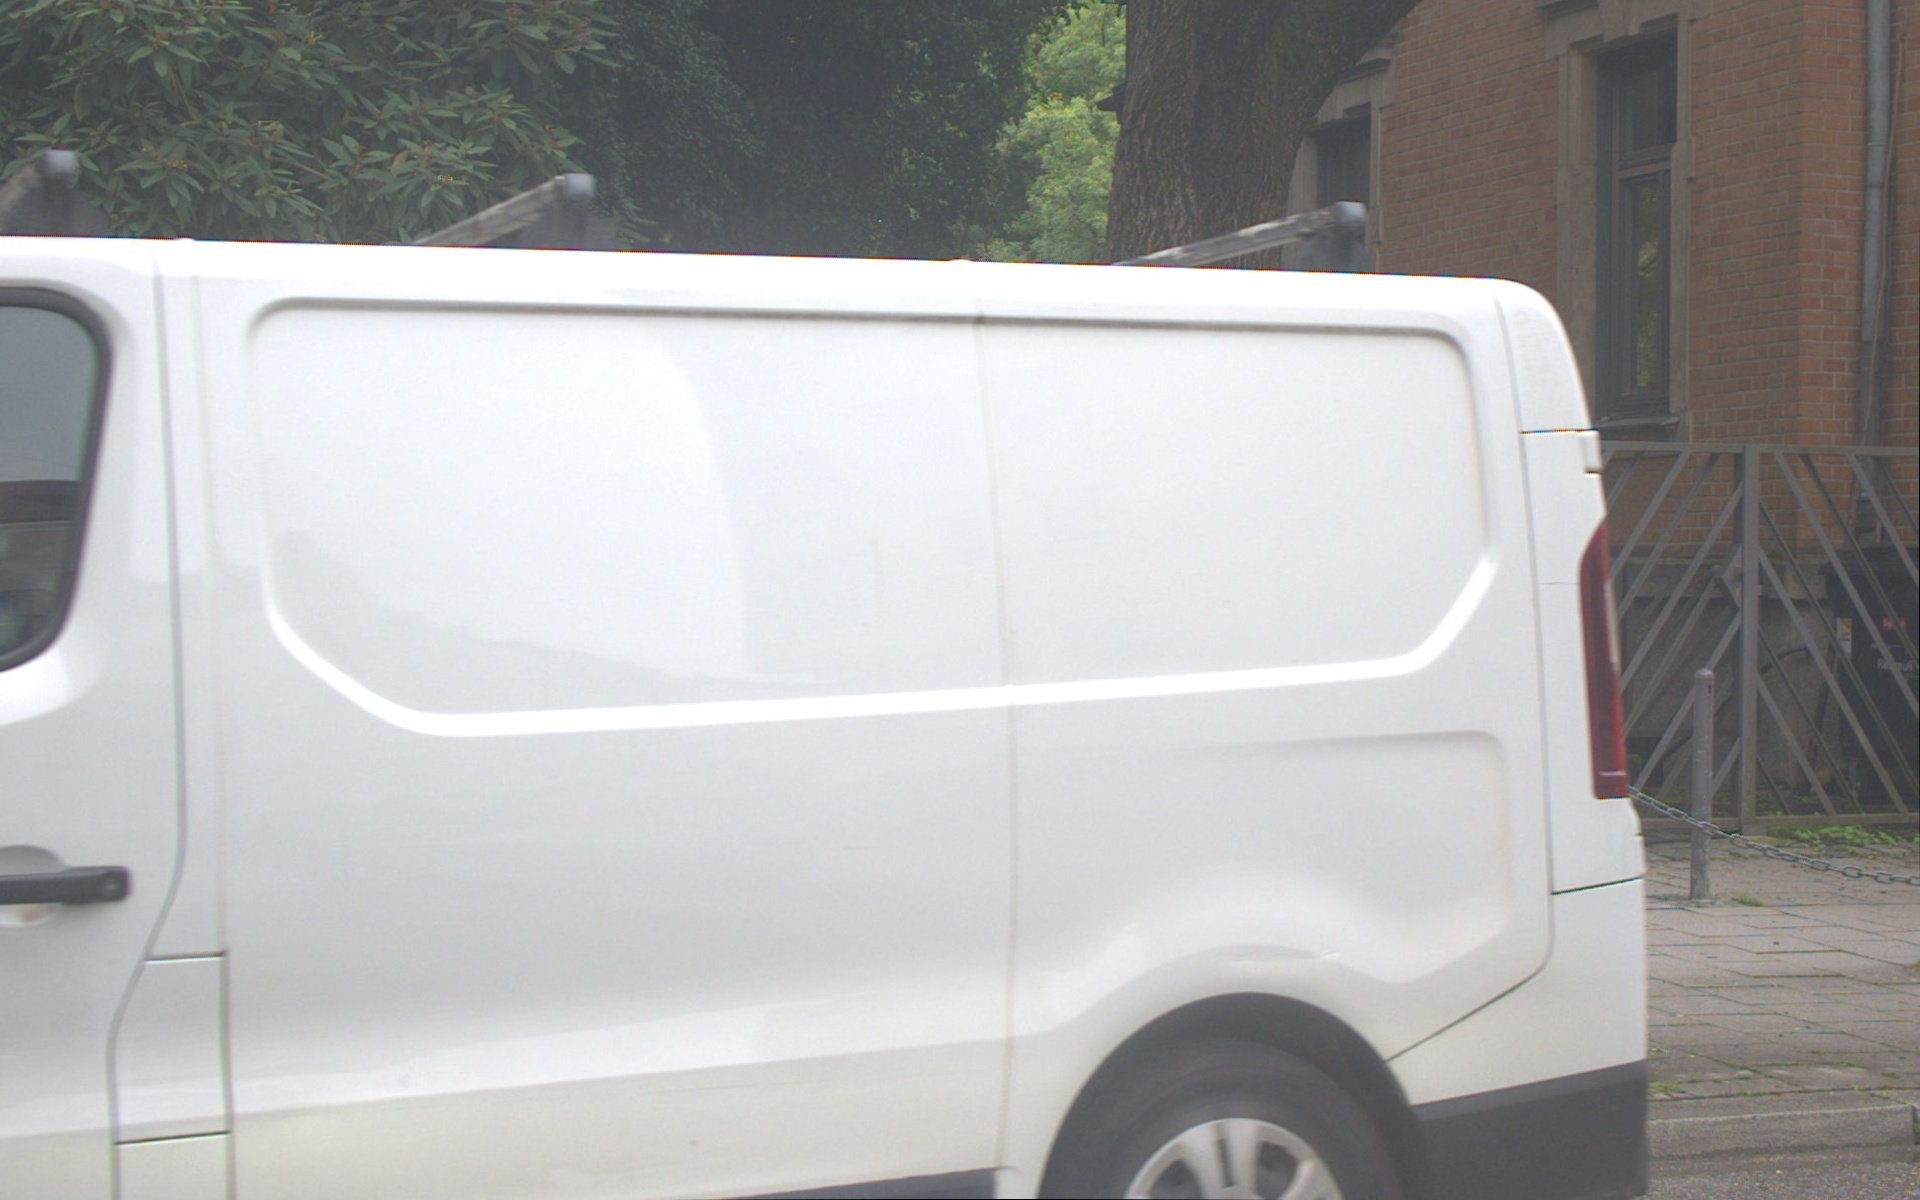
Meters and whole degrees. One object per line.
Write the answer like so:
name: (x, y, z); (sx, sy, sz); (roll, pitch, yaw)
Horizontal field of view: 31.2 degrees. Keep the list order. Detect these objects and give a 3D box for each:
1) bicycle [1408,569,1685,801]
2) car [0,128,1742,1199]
bicycle: (3.204, 0.438, 19.002); (0.534, 1.215, 2.083); (1, 0, -20)
car: (-1.364, 0.398, 5.630); (4.941, 2.034, 2.047); (0, 0, -25)
